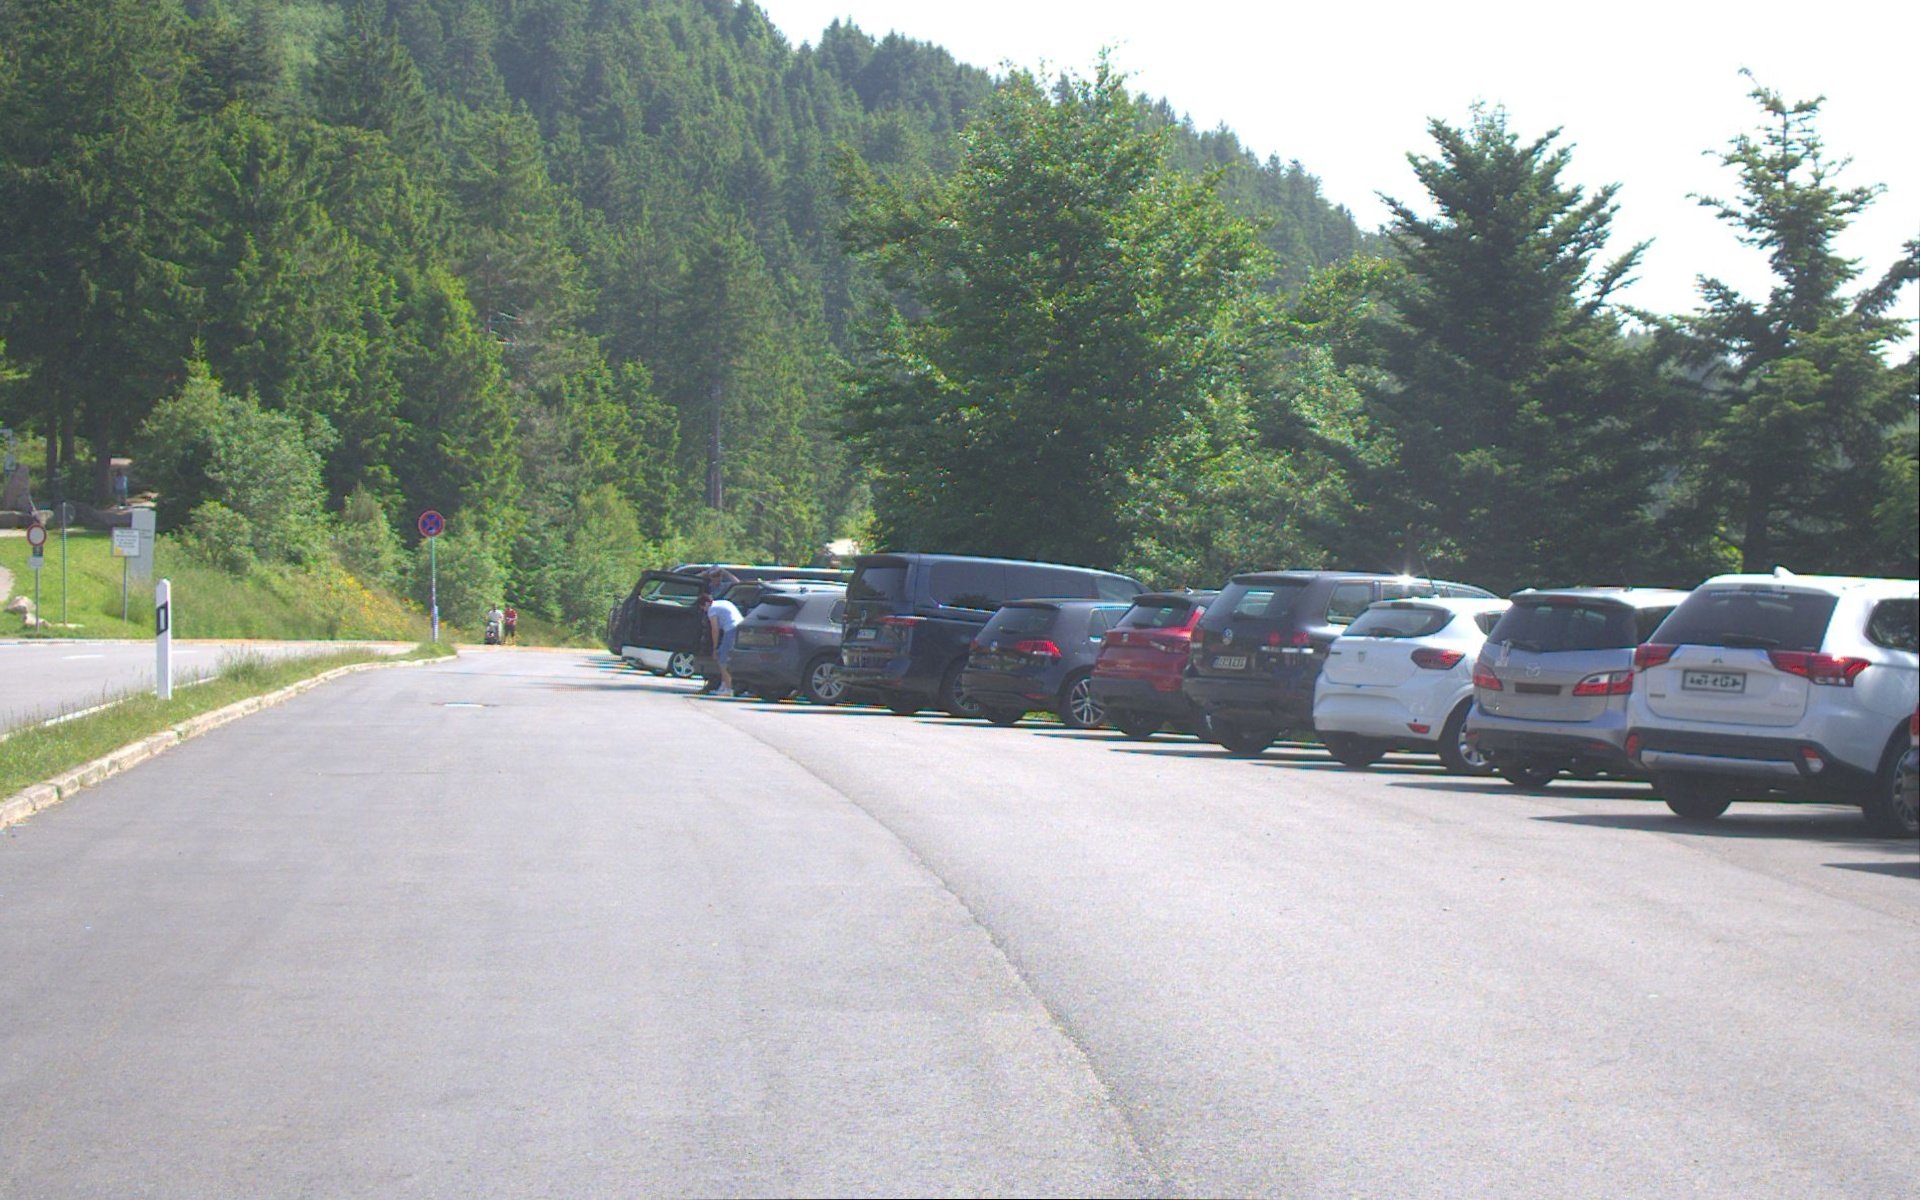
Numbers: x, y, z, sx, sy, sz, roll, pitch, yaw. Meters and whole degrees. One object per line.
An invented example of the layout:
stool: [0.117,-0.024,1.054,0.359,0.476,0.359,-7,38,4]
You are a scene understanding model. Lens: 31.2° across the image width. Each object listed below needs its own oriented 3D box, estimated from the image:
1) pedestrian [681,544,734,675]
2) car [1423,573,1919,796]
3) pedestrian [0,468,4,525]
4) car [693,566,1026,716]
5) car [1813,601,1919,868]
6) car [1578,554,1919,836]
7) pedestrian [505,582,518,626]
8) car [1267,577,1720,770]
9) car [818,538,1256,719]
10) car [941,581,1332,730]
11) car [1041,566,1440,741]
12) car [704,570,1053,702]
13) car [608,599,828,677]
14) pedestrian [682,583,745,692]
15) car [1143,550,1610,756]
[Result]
pedestrian: [-3.490,0.132,47.522,0.578,1.755,0.633,4,-1,-6]
car: [5.652,0.686,27.016,3.989,1.543,1.819,3,0,-44]
pedestrian: [-34.277,-3.673,121.720,0.815,2.006,0.854,-1,2,-15]
car: [-1.365,0.567,47.191,3.987,1.656,2.000,6,-2,-34]
car: [7.109,0.861,20.014,4.038,1.456,1.895,3,0,-35]
car: [6.269,0.643,23.396,4.215,1.689,1.863,2,1,-44]
pedestrian: [-17.978,0.149,137.769,0.395,1.741,0.406,1,1,9]
car: [4.704,0.661,29.997,3.989,1.471,1.767,3,0,-44]
car: [0.927,0.345,41.095,4.756,1.873,1.967,3,0,-25]
car: [1.975,0.625,38.023,3.987,1.410,1.745,3,0,-33]
car: [2.945,0.571,35.615,3.989,1.584,1.863,3,0,-44]
car: [-1.034,0.466,44.020,3.986,1.438,1.840,3,0,-27]
car: [-5.330,0.839,75.774,4.452,1.294,1.583,6,-1,-22]
pedestrian: [-3.247,0.489,45.335,0.773,1.398,0.669,0,2,0]
car: [3.940,0.515,32.091,4.261,1.689,1.990,3,0,-44]
